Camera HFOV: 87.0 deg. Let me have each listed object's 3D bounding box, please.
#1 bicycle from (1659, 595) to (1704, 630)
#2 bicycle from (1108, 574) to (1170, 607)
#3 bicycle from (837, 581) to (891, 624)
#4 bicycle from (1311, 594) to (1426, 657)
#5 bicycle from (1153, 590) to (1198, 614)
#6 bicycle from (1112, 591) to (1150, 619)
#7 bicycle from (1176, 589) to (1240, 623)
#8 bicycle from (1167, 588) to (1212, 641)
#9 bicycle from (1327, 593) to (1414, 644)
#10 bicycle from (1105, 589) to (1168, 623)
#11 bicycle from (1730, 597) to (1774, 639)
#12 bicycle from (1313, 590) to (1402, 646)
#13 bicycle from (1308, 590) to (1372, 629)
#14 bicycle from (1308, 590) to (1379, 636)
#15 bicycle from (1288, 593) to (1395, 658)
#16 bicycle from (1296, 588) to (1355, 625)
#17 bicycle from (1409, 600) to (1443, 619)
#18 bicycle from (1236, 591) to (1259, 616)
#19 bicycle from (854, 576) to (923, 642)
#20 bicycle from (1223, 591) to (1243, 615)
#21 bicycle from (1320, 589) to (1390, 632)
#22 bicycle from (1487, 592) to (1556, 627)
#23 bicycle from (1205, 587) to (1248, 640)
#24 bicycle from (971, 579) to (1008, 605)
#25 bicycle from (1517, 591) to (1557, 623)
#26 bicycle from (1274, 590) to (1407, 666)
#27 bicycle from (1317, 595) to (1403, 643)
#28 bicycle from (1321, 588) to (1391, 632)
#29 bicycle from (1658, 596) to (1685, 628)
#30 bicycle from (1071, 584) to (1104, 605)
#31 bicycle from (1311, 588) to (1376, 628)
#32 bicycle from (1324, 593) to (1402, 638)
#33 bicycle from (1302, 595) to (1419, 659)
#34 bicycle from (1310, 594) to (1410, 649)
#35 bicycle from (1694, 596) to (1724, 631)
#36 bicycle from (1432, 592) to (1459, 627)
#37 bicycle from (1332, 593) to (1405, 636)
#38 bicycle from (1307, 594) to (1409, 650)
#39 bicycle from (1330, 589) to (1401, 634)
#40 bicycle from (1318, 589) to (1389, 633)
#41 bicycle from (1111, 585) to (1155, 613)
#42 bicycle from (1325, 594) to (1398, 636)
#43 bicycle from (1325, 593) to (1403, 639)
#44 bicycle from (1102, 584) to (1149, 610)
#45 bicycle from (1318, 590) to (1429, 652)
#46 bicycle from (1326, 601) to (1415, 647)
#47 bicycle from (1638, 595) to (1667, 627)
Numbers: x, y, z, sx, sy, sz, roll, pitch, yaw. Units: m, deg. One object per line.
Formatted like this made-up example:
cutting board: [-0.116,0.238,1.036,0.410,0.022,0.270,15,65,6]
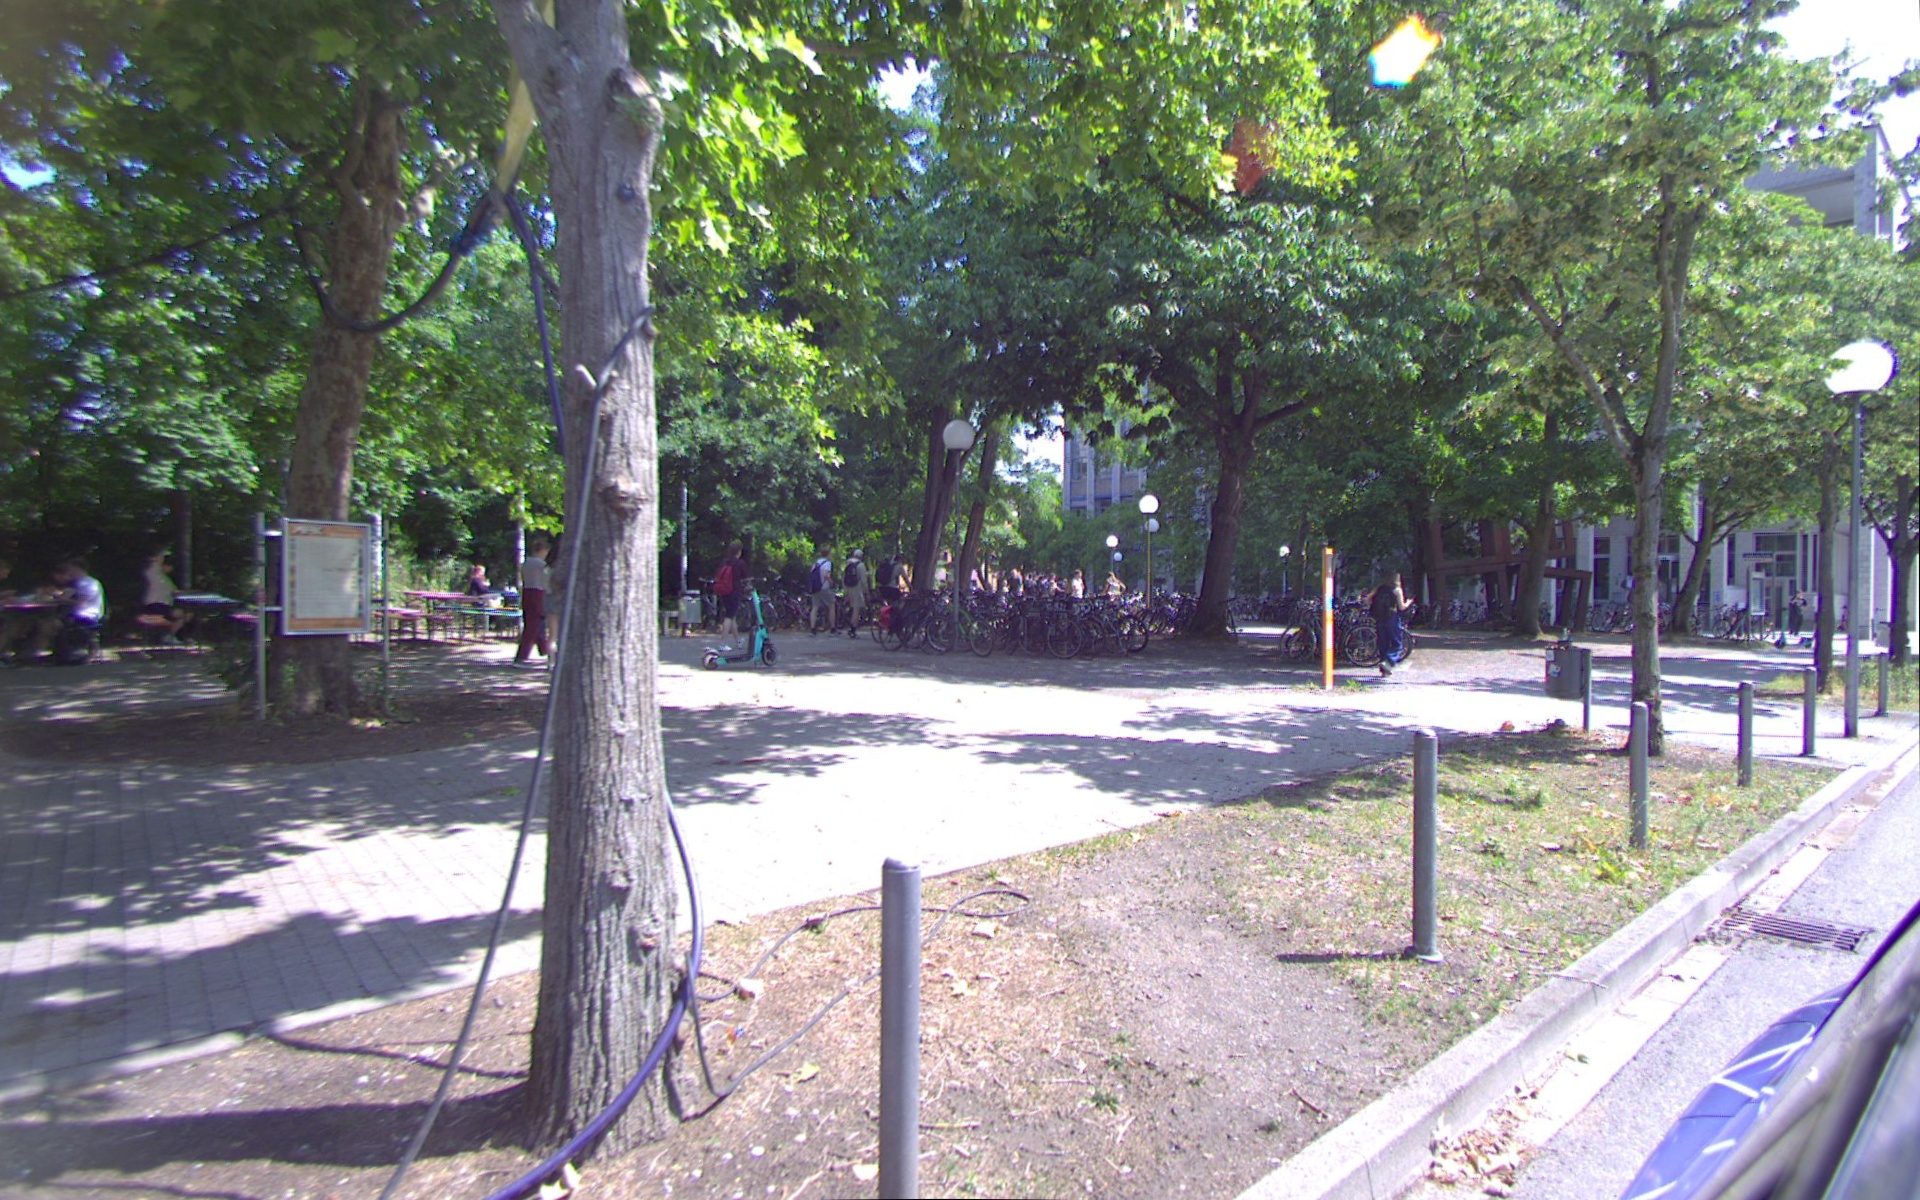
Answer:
bicycle: [25.299,0.427,35.482,1.494,1.155,0.493,3,1,-22]
bicycle: [5.670,-0.310,32.141,1.880,0.991,0.376,2,1,20]
bicycle: [-2.659,0.059,27.946,1.598,1.107,0.344,2,1,31]
bicycle: [7.593,0.450,18.869,1.939,1.096,0.399,2,1,38]
bicycle: [9.403,0.078,44.187,1.874,0.991,0.477,2,1,12]
bicycle: [6.918,0.210,40.872,1.442,1.098,0.353,0,-2,-6]
bicycle: [7.641,0.178,31.229,1.880,0.991,0.376,2,1,20]
bicycle: [5.169,0.301,22.717,0.474,1.096,1.885,2,2,28]
bicycle: [9.184,0.402,22.673,1.712,1.065,0.492,1,0,13]
bicycle: [5.518,0.165,31.709,1.880,0.991,0.376,2,1,20]
bicycle: [22.732,0.508,29.081,0.622,1.097,1.674,-1,2,26]
bicycle: [8.655,0.383,22.089,1.712,1.169,0.492,1,0,13]
bicycle: [11.927,0.287,31.821,1.817,1.185,0.344,1,0,13]
bicycle: [10.538,0.349,27.876,1.768,1.185,0.401,1,0,16]
bicycle: [6.910,0.438,18.392,1.763,1.096,0.432,2,0,38]
bicycle: [12.293,0.211,34.038,1.817,1.185,0.352,1,0,13]
bicycle: [23.267,0.465,50.516,1.739,0.911,0.449,1,-1,-23]
bicycle: [12.950,0.138,45.571,0.352,1.097,1.448,1,0,45]
bicycle: [-1.434,0.157,20.513,0.526,1.268,1.720,3,2,28]
bicycle: [12.549,0.131,46.513,0.350,1.097,1.453,1,0,36]
bicycle: [11.484,0.296,29.456,1.819,1.185,0.344,1,0,16]
bicycle: [18.790,0.316,33.889,1.895,1.123,0.630,1,1,13]
bicycle: [5.925,0.279,22.447,0.474,1.096,1.885,2,2,28]
bicycle: [1.280,-0.340,44.443,1.581,1.107,0.348,1,1,1]
bicycle: [20.995,0.272,36.813,1.792,1.091,0.464,2,1,-34]
bicycle: [6.452,0.445,17.236,2.010,1.181,0.643,2,1,38]
bicycle: [9.141,0.427,23.180,1.772,1.041,0.438,1,0,18]
bicycle: [11.379,0.280,29.119,1.819,1.185,0.344,1,0,16]
bicycle: [25.471,0.432,36.223,1.416,1.099,0.460,2,1,-44]
bicycle: [6.715,-0.274,53.440,1.654,1.098,0.479,0,-2,-4]
bicycle: [11.785,0.250,31.153,1.817,1.185,0.344,1,0,12]
bicycle: [10.185,0.384,25.623,1.770,1.083,0.424,1,0,19]
bicycle: [7.316,0.472,18.545,1.939,1.096,0.399,2,1,38]
bicycle: [8.235,0.427,20.873,1.895,1.073,0.322,2,0,27]
bicycle: [25.999,0.470,35.117,1.465,1.155,0.560,2,1,-44]
bicycle: [16.798,0.321,35.049,0.468,1.123,1.665,0,2,12]
bicycle: [10.755,0.375,26.691,1.772,1.083,0.423,1,0,21]
bicycle: [8.093,0.430,20.600,1.895,1.073,0.322,2,0,27]
bicycle: [11.248,0.306,28.096,1.768,1.185,0.401,1,0,16]
bicycle: [11.190,0.300,28.788,1.819,1.185,0.401,1,0,16]
bicycle: [6.453,-0.051,37.801,1.571,0.991,0.403,2,1,10]
bicycle: [10.823,0.396,27.321,1.766,1.083,0.425,1,0,14]
bicycle: [10.045,0.394,25.208,1.770,1.083,0.424,1,0,19]
bicycle: [6.465,-0.122,39.635,1.769,0.991,0.378,1,1,3]
bicycle: [7.934,0.384,19.487,1.939,1.096,0.399,2,1,38]
bicycle: [8.712,0.496,21.538,1.717,0.921,0.491,1,0,20]
bicycle: [24.878,0.410,36.365,1.447,1.099,0.460,2,1,-40]
